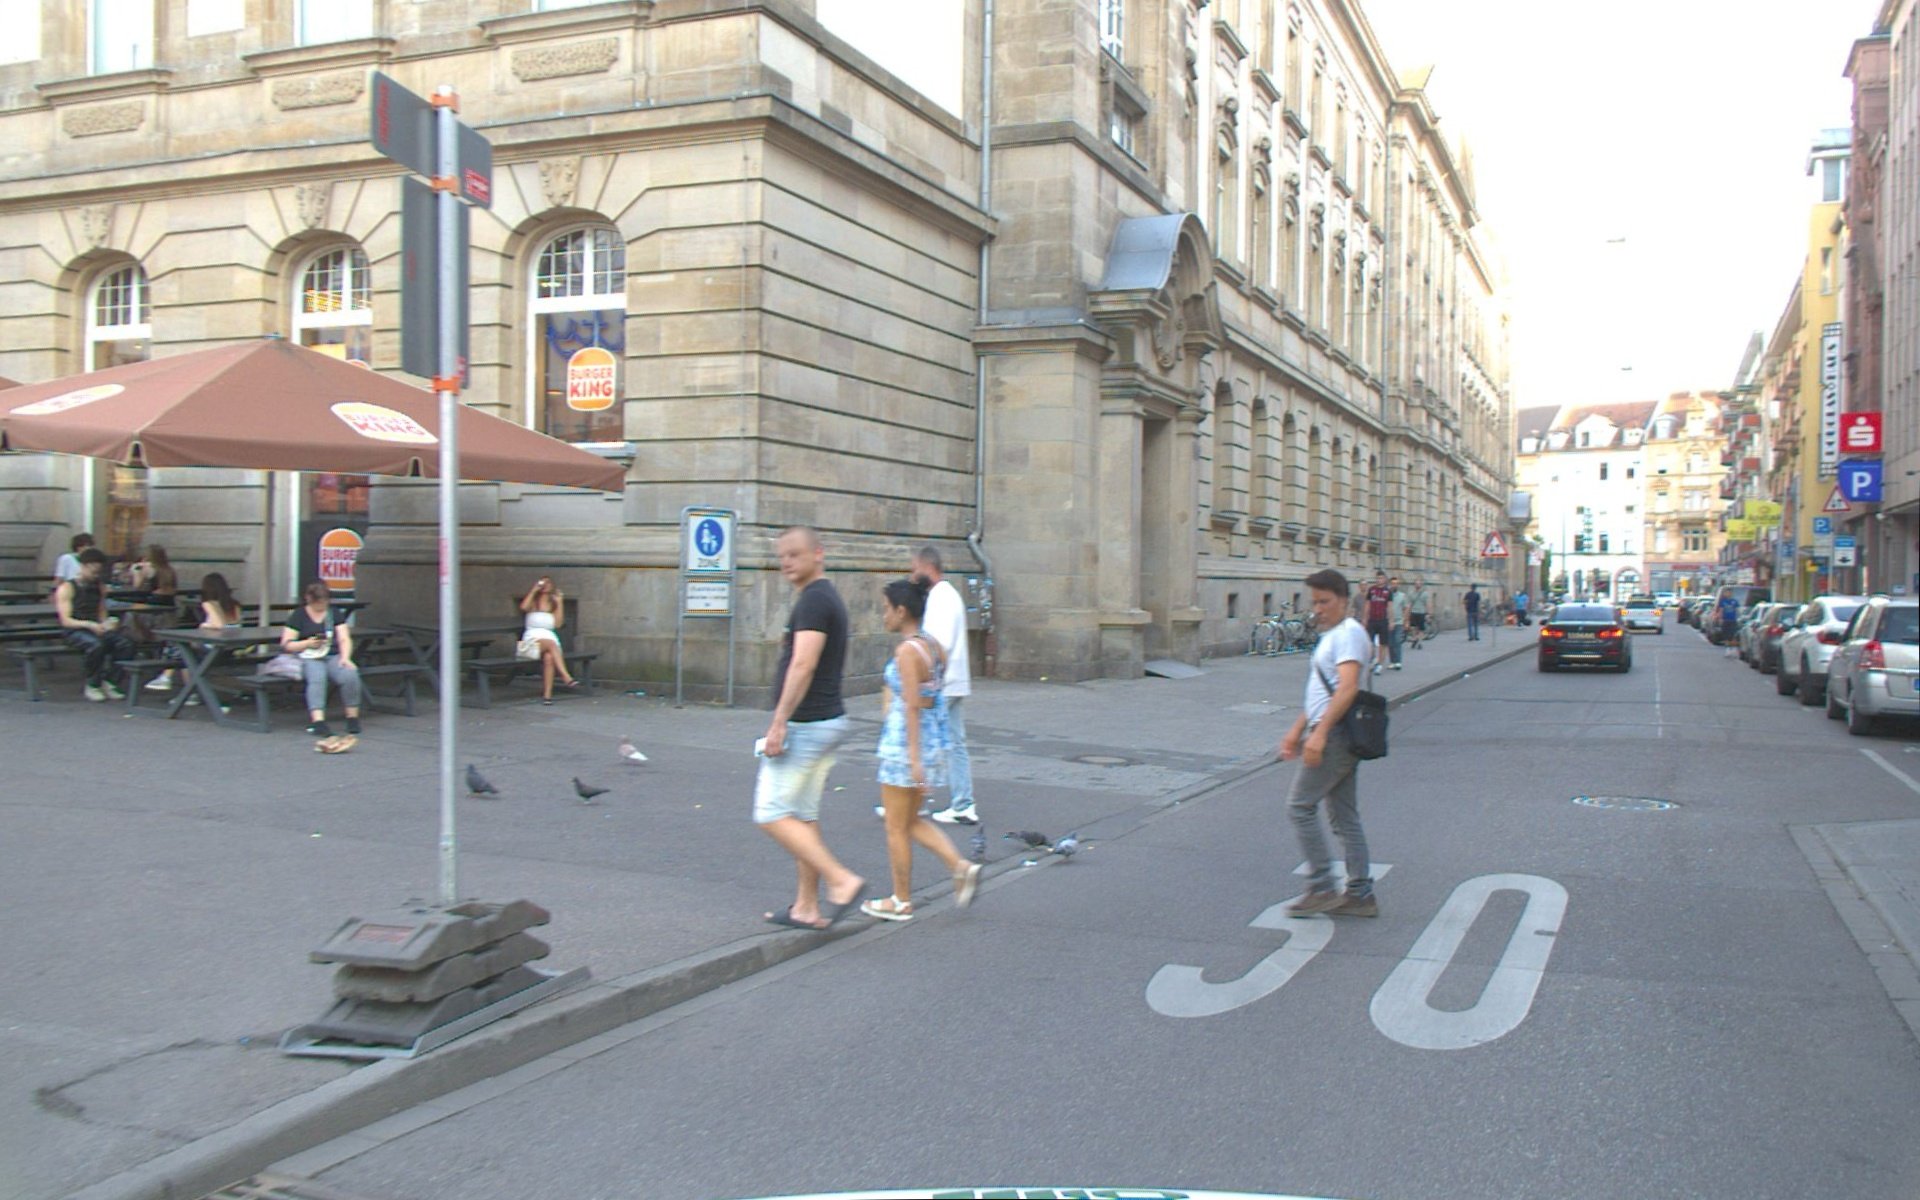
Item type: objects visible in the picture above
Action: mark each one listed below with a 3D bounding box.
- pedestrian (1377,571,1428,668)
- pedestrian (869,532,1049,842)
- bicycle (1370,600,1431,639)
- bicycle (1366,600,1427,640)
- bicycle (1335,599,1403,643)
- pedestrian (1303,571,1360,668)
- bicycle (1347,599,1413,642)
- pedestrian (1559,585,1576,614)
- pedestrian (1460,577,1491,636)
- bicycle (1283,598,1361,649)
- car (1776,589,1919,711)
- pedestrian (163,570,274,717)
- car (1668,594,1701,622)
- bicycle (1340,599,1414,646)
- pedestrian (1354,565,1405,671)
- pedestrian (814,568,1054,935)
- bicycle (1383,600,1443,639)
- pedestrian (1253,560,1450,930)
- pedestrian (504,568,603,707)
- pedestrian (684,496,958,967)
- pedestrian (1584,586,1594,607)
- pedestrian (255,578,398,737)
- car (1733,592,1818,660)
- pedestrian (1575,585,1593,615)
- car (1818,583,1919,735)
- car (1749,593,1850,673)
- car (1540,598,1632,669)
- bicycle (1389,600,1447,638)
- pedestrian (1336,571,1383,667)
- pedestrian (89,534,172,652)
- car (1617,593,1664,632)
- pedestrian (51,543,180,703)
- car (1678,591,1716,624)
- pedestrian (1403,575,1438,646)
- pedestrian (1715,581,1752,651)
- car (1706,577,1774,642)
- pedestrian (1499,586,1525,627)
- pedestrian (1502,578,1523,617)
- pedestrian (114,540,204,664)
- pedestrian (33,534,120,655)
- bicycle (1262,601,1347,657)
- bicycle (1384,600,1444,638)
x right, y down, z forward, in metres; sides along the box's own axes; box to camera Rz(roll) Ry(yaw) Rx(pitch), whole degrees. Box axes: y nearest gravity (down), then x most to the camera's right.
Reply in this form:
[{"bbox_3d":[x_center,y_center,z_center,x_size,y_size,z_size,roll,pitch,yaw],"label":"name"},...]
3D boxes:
[{"bbox_3d":[8.523,0.366,31.819,0.770,1.782,0.722,4,1,21],"label":"pedestrian"},{"bbox_3d":[0.009,0.527,10.758,0.853,1.871,0.867,4,2,18],"label":"pedestrian"},{"bbox_3d":[12.880,0.568,48.332,1.645,1.059,0.487,3,1,22],"label":"bicycle"},{"bbox_3d":[12.652,0.566,47.935,1.645,1.059,0.487,3,1,22],"label":"bicycle"},{"bbox_3d":[10.802,0.545,43.713,1.645,1.059,0.487,3,1,22],"label":"bicycle"},{"bbox_3d":[6.817,0.348,30.331,0.781,1.704,0.975,4,1,20],"label":"pedestrian"},{"bbox_3d":[11.395,0.552,44.840,1.645,1.059,0.487,3,1,22],"label":"bicycle"},{"bbox_3d":[38.243,-0.018,104.127,0.914,1.782,0.810,4,1,20],"label":"pedestrian"},{"bbox_3d":[16.226,0.212,52.062,0.787,1.782,0.810,4,1,20],"label":"pedestrian"},{"bbox_3d":[8.161,0.516,37.307,1.644,1.059,0.488,3,1,6],"label":"bicycle"},{"bbox_3d":[13.870,0.699,25.546,1.733,1.664,4.091,3,1,20],"label":"car"},{"bbox_3d":[-6.659,0.380,14.858,0.687,1.247,0.614,4,1,37],"label":"pedestrian"},{"bbox_3d":[42.867,0.482,97.909,1.611,1.549,3.284,3,1,22],"label":"car"},{"bbox_3d":[10.160,0.540,40.300,1.645,1.059,0.487,3,1,22],"label":"bicycle"},{"bbox_3d":[7.620,0.316,30.024,0.683,1.843,0.975,4,1,20],"label":"pedestrian"},{"bbox_3d":[-0.109,0.672,7.855,0.853,1.609,0.806,1,-1,23],"label":"pedestrian"},{"bbox_3d":[13.562,0.576,49.490,1.645,1.059,0.487,3,1,22],"label":"bicycle"},{"bbox_3d":[1.904,0.658,7.991,0.851,1.675,0.733,0,-1,19],"label":"pedestrian"},{"bbox_3d":[-4.163,0.366,16.931,0.659,1.331,0.762,0,4,-42],"label":"pedestrian"},{"bbox_3d":[-0.579,0.519,7.116,0.853,1.872,0.806,1,-1,23],"label":"pedestrian"},{"bbox_3d":[53.389,-0.307,140.408,0.652,1.782,0.681,4,1,20],"label":"pedestrian"},{"bbox_3d":[-5.400,0.474,14.112,0.812,1.264,0.778,4,1,37],"label":"pedestrian"},{"bbox_3d":[20.295,0.619,41.251,1.611,1.549,3.284,3,1,22],"label":"car"},{"bbox_3d":[39.303,-0.004,104.151,0.914,1.782,0.810,4,1,20],"label":"pedestrian"},{"bbox_3d":[11.667,0.672,20.107,1.734,1.664,4.052,3,1,22],"label":"car"},{"bbox_3d":[17.957,0.664,35.486,1.611,1.549,3.284,3,1,22],"label":"car"},{"bbox_3d":[13.397,0.672,35.306,1.733,1.433,4.052,0,0,22],"label":"car"},{"bbox_3d":[14.157,0.583,51.139,1.645,1.059,0.487,3,1,22],"label":"bicycle"},{"bbox_3d":[7.661,0.355,31.675,0.675,1.782,0.722,4,1,20],"label":"pedestrian"},{"bbox_3d":[-9.757,-0.088,19.456,0.568,1.331,0.594,4,1,21],"label":"pedestrian"},{"bbox_3d":[28.701,0.487,69.793,1.757,1.536,4.000,1,1,22],"label":"car"},{"bbox_3d":[-7.822,0.207,15.335,0.639,1.407,0.804,4,1,34],"label":"pedestrian"},{"bbox_3d":[37.648,0.365,84.560,1.611,1.549,3.284,3,1,22],"label":"car"},{"bbox_3d":[11.948,0.267,42.920,0.704,1.782,0.669,4,1,21],"label":"pedestrian"},{"bbox_3d":[20.395,0.416,43.625,0.712,1.822,0.820,1,0,38],"label":"pedestrian"},{"bbox_3d":[26.610,0.295,56.534,1.832,2.053,3.765,3,1,22],"label":"car"},{"bbox_3d":[23.743,0.280,71.108,0.914,1.664,0.654,4,1,21],"label":"pedestrian"},{"bbox_3d":[26.444,-0.135,79.116,0.791,1.782,0.936,4,1,22],"label":"pedestrian"},{"bbox_3d":[-8.981,0.018,18.561,0.594,1.331,0.609,4,1,19],"label":"pedestrian"},{"bbox_3d":[-10.074,-0.066,18.865,0.568,1.331,0.594,4,1,19],"label":"pedestrian"},{"bbox_3d":[7.207,0.596,34.634,1.648,1.059,0.486,3,1,29],"label":"bicycle"},{"bbox_3d":[13.701,0.578,49.935,1.645,1.059,0.487,3,1,22],"label":"bicycle"}]
